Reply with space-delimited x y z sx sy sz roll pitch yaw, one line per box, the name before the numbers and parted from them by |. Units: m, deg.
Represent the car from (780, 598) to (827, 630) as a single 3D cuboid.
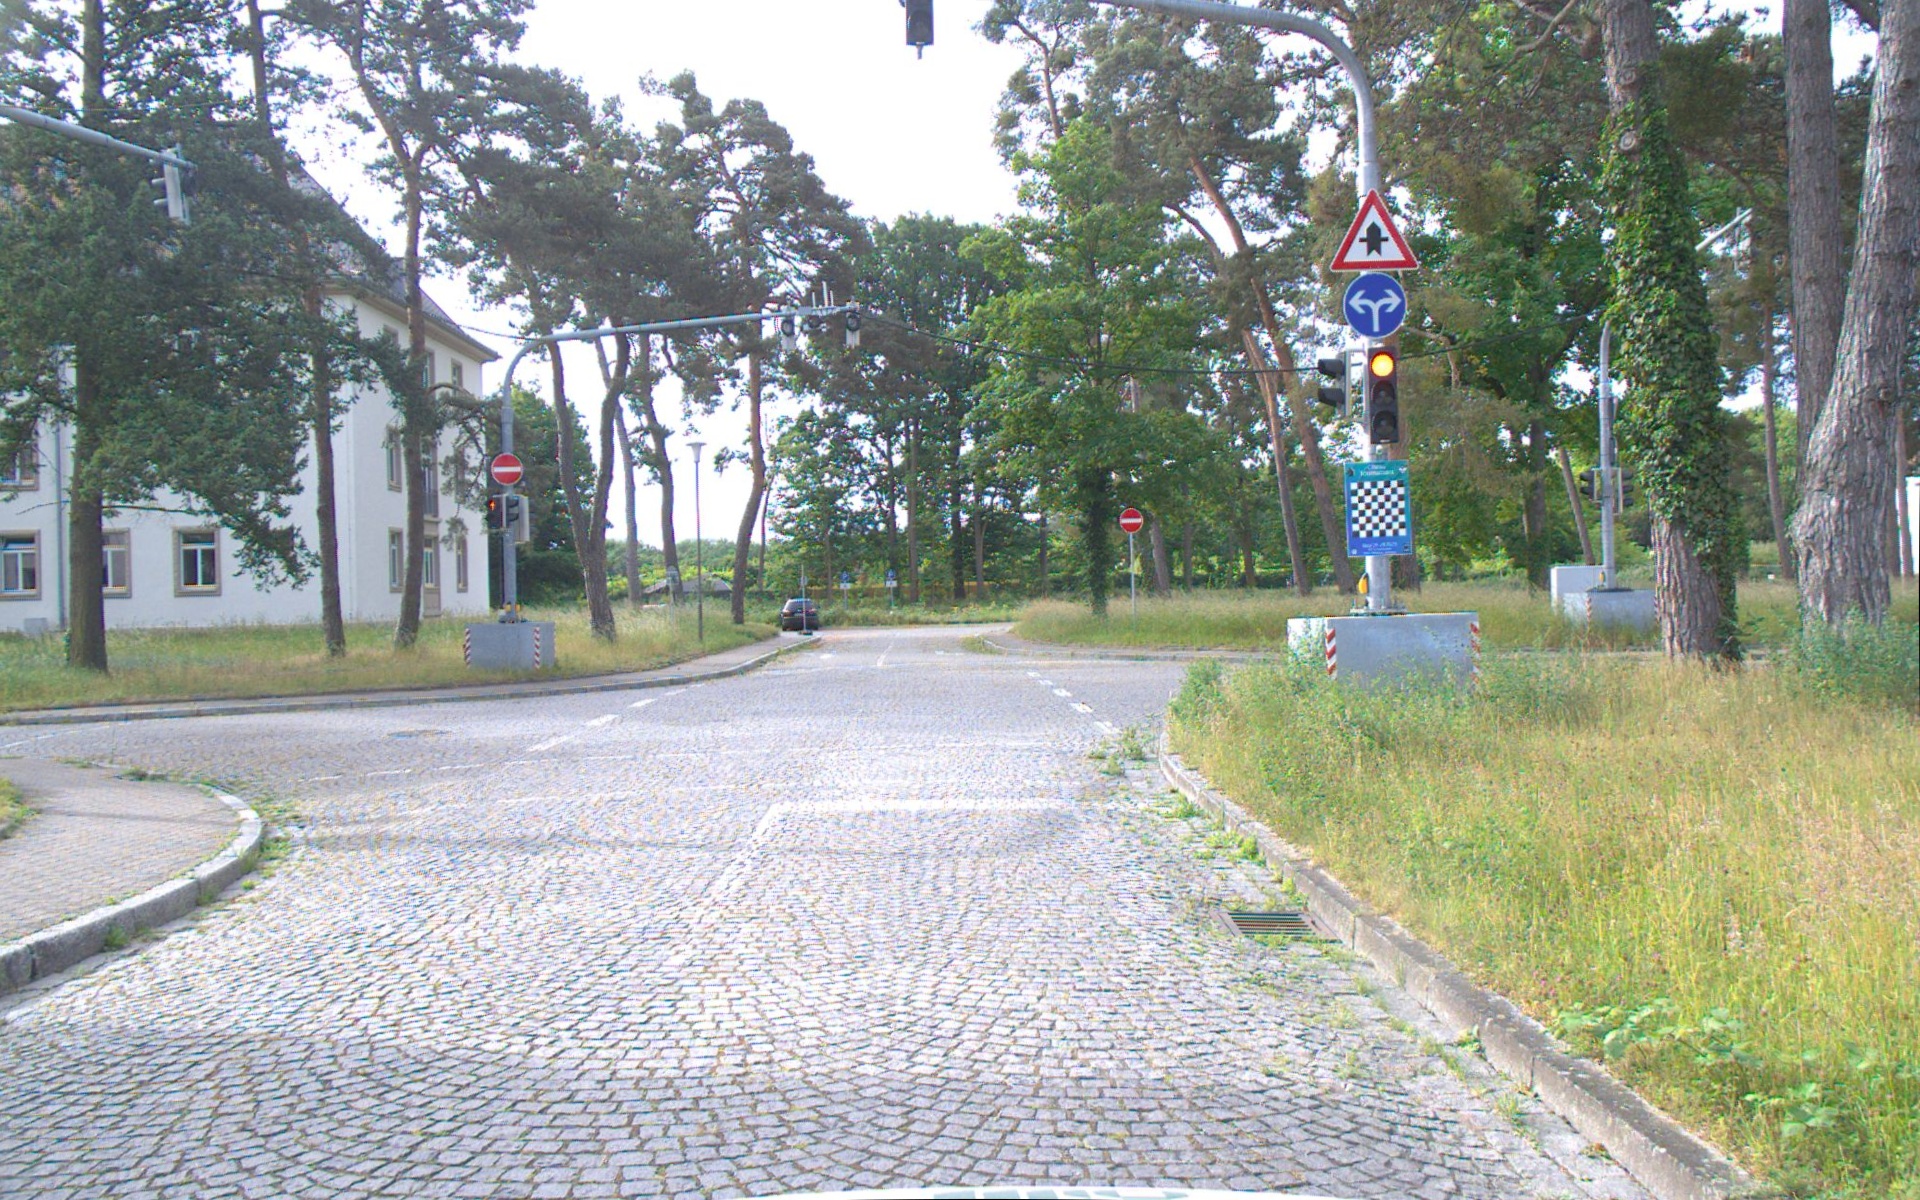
car | -7.805 0.703 82.745 1.953 1.534 4.000 0 0 -1
